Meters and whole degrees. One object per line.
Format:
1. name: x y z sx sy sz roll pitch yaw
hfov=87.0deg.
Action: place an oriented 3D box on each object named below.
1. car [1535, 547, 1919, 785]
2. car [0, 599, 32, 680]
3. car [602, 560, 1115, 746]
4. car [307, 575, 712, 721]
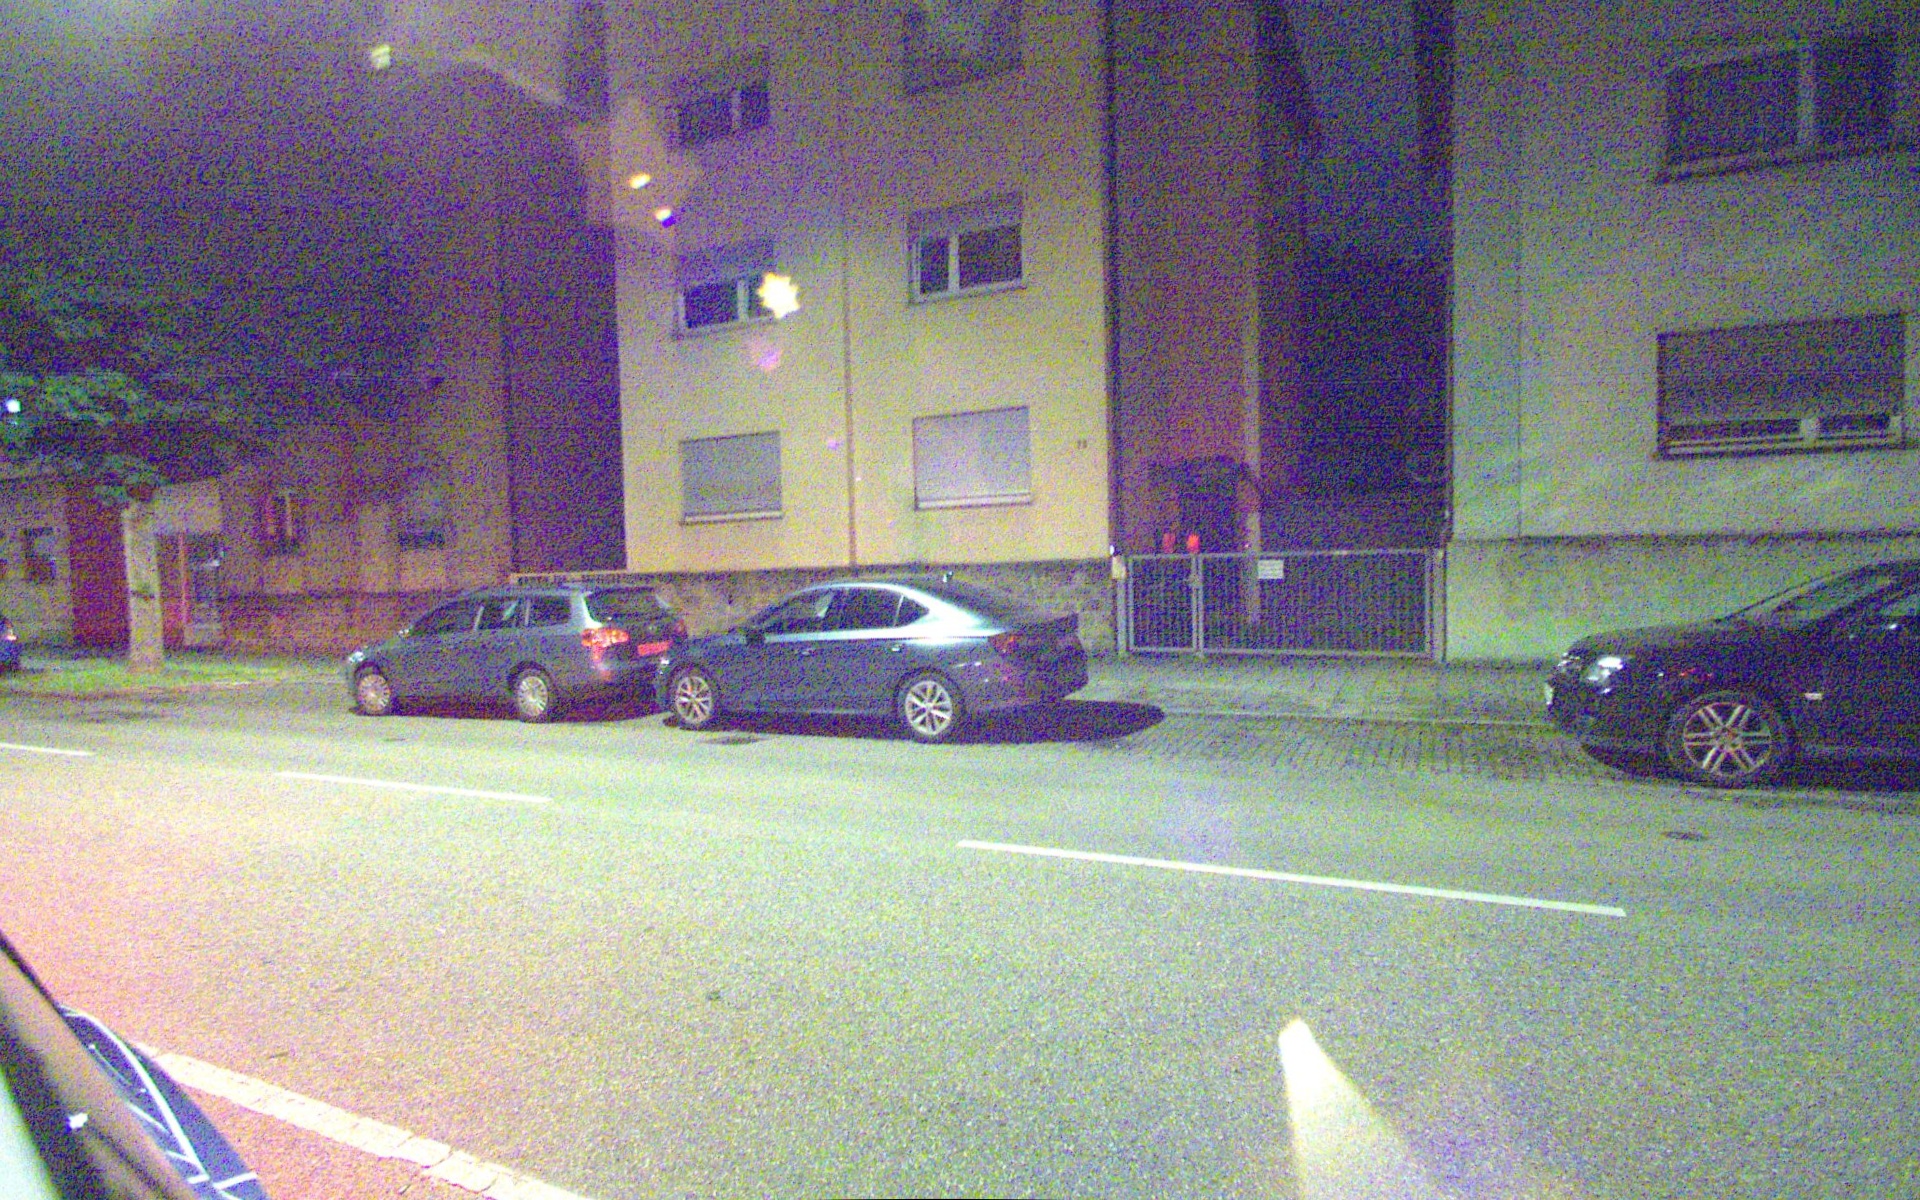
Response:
1. car: 6.323 0.361 6.460 4.424 1.393 1.615 -1 1 24
2. car: -20.034 0.800 19.582 3.968 1.505 1.705 -1 2 26
3. car: -1.065 0.436 9.999 4.837 1.497 1.759 -1 1 26
4. car: -5.459 0.510 12.179 4.739 1.497 1.759 -1 1 25
